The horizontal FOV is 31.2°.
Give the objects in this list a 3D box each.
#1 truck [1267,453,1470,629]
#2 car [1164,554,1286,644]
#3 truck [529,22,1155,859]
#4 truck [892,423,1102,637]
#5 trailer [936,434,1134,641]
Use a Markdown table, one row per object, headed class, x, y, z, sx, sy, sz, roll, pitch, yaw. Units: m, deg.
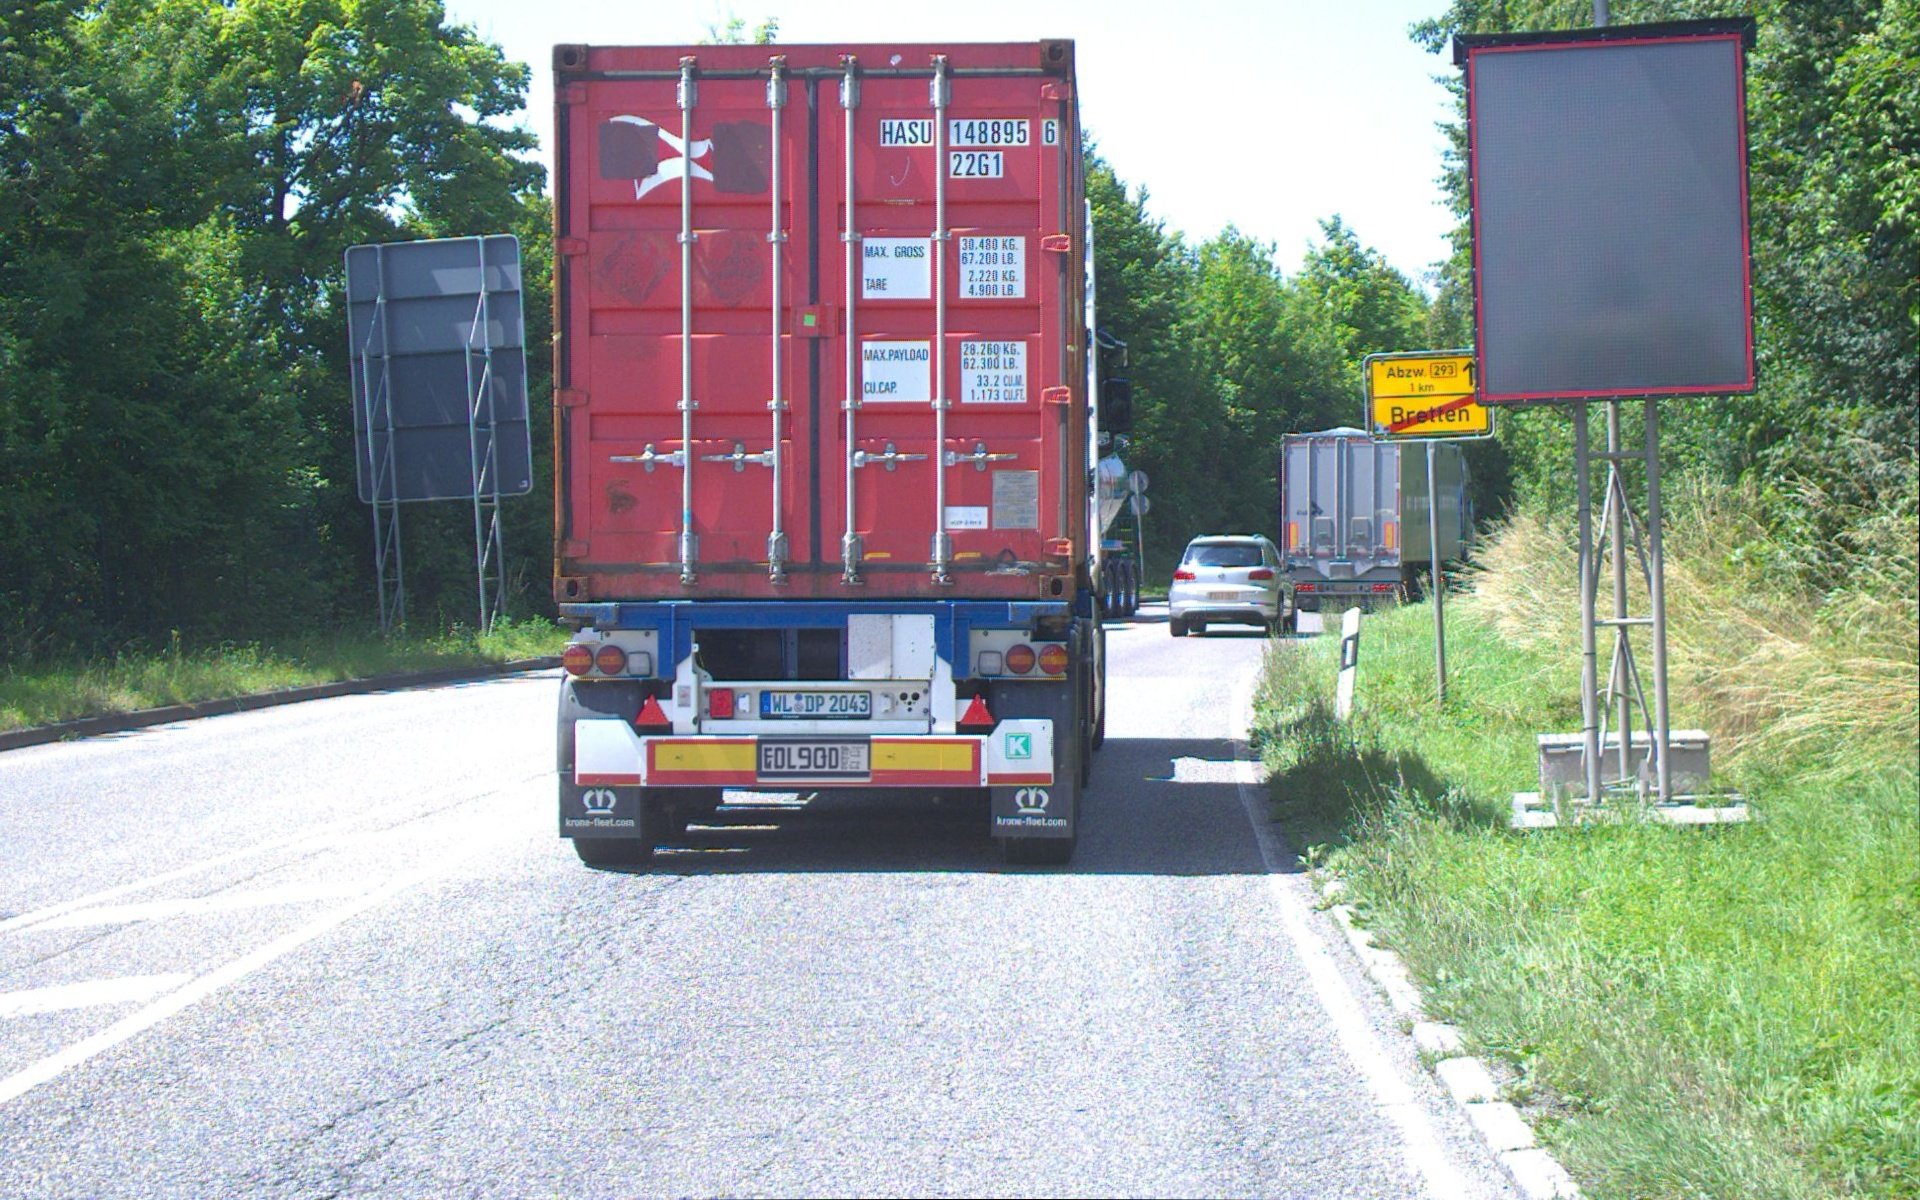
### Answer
| class | x | y | z | sx | sy | sz | roll | pitch | yaw |
| --- | --- | --- | --- | --- | --- | --- | --- | --- | --- |
| truck | 9.582 | -1.315 | 79.125 | 2.923 | 3.704 | 13.351 | 1 | 1 | 14 |
| car | 4.476 | -0.041 | 57.646 | 1.833 | 1.428 | 3.999 | 0 | 1 | 7 |
| truck | -0.172 | -0.772 | 22.414 | 2.648 | 3.793 | 13.357 | 1 | 0 | 4 |
| truck | 0.790 | -1.253 | 63.226 | 2.580 | 3.667 | 7.872 | 1 | 1 | 10 |
| trailer | 1.598 | -1.202 | 67.866 | 2.578 | 3.806 | 8.911 | 1 | 1 | 10 |
